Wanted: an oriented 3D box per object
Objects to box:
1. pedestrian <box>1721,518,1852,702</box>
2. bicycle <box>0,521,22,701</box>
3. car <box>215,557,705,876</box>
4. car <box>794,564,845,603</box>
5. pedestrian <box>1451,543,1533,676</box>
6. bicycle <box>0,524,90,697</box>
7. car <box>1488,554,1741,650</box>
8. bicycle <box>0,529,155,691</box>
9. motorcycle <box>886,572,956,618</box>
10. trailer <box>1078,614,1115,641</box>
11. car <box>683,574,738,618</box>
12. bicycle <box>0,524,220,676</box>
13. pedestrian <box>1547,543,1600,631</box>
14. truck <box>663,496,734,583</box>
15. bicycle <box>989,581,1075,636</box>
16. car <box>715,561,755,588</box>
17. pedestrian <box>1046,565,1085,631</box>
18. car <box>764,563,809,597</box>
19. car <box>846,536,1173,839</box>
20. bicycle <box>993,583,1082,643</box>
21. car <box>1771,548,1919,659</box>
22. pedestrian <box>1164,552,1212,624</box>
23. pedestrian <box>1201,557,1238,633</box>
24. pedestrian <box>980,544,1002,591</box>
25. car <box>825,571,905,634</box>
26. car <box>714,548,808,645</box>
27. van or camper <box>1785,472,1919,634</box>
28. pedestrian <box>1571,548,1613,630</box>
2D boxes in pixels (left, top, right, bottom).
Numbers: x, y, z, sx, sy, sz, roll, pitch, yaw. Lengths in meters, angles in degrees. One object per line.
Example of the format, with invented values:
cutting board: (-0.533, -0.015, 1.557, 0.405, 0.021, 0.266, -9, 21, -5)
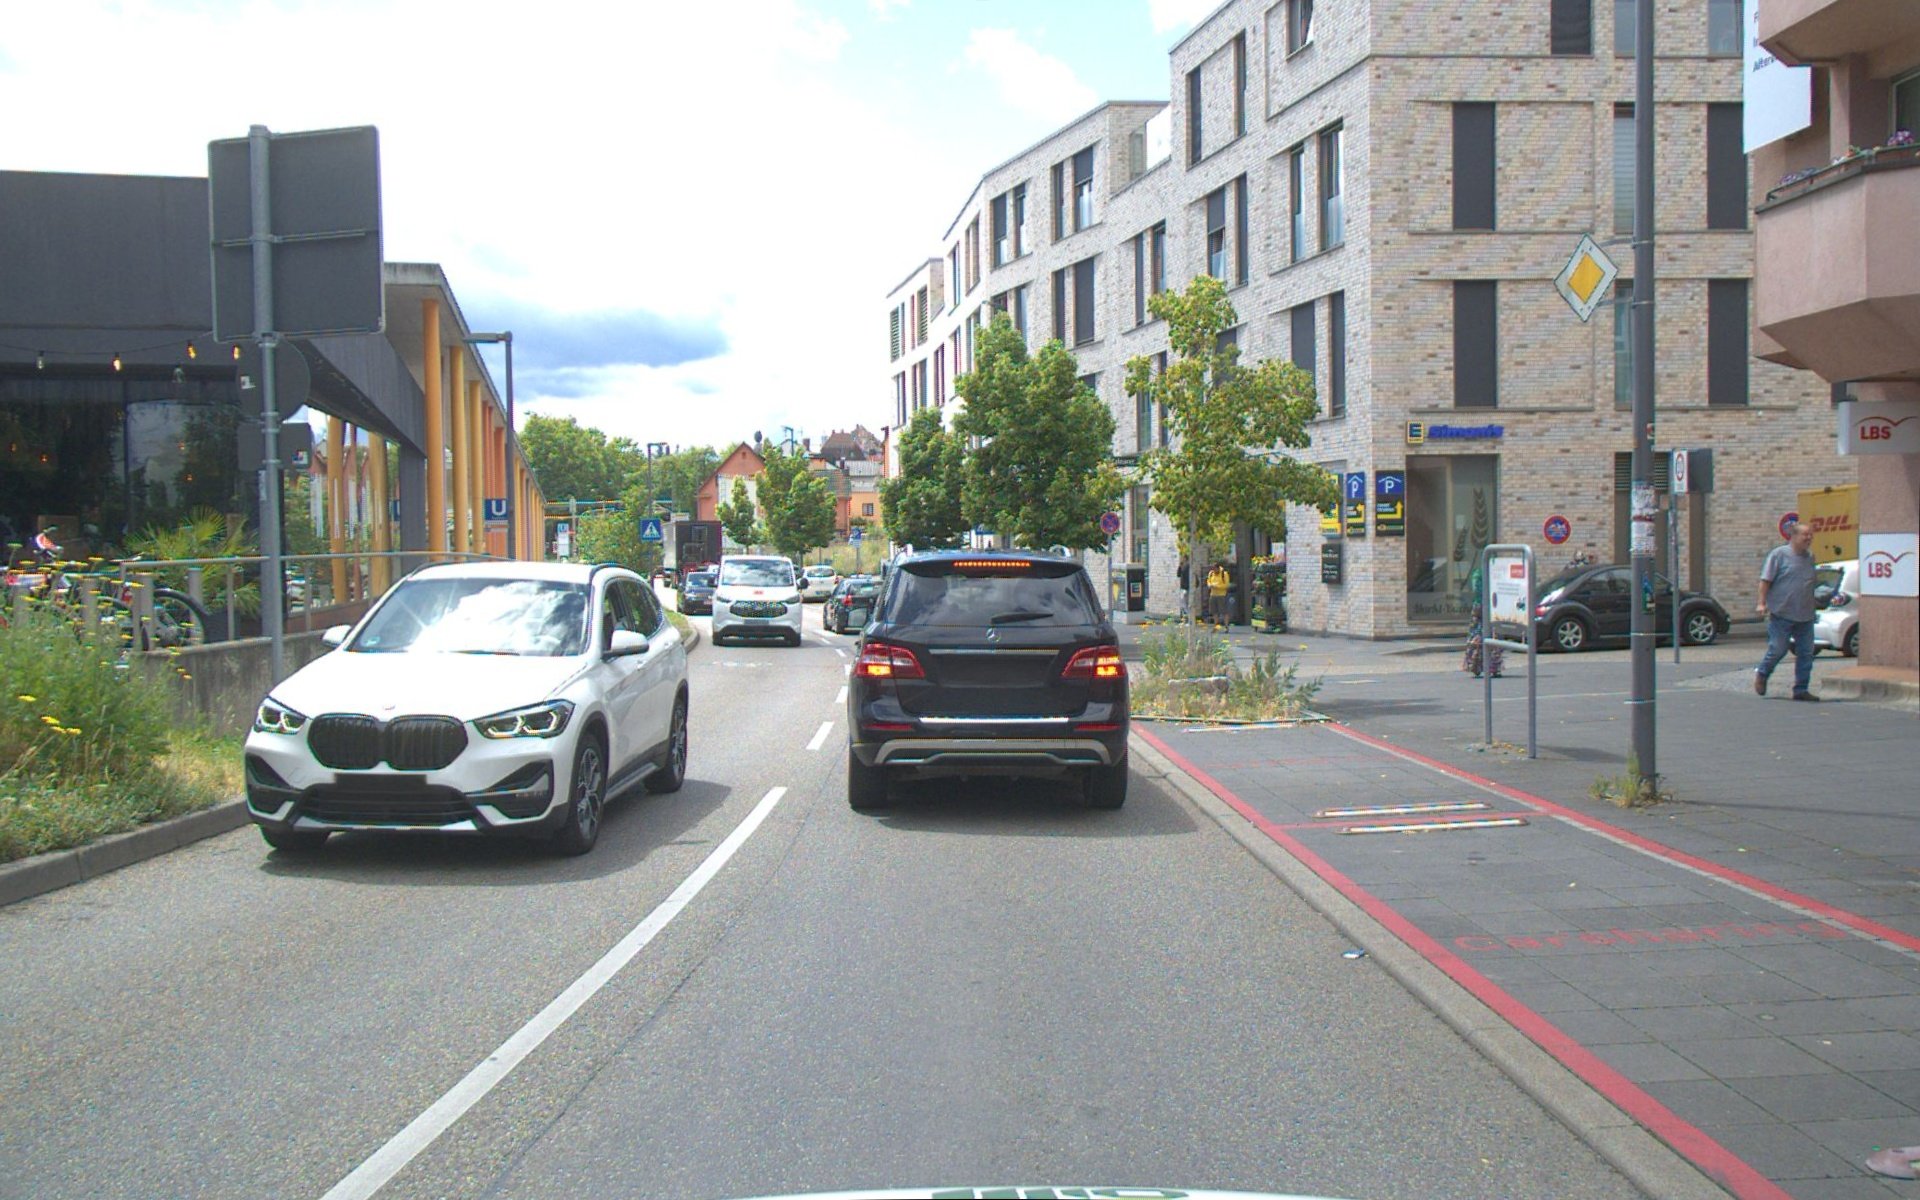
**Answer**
pedestrian: (8.039, 0.094, 16.122, 0.702, 1.715, 0.944, -2, 0, -4)
bicycle: (-6.884, 0.089, 10.497, 1.515, 1.147, 0.533, -1, 1, 0)
car: (-2.847, 0.565, 10.446, 1.785, 1.612, 4.166, 0, 1, 1)
car: (-6.041, -0.738, 70.744, 1.663, 1.509, 3.786, -3, 2, -12)
pedestrian: (6.948, 0.114, 21.569, 0.731, 1.667, 0.925, -2, 2, 34)
bicycle: (-6.857, 0.079, 11.286, 1.515, 1.147, 0.533, -1, 1, 0)
car: (11.719, 0.006, 29.734, 3.821, 1.502, 1.780, -3, 1, -8)
bicycle: (-6.807, 0.075, 12.131, 1.515, 1.147, 0.533, -1, 1, 0)
motorcycle: (-1.188, -0.152, 50.486, 2.007, 1.288, 0.673, -3, 1, 4)
trailer: (2.963, 0.594, 35.963, 0.705, 0.537, 0.811, -1, 1, -4)
car: (-8.818, -0.164, 58.315, 1.741, 1.489, 4.223, 0, 1, -11)
bicycle: (-6.796, -0.003, 13.184, 1.515, 1.147, 0.533, -1, 1, 0)
pedestrian: (11.995, -0.241, 32.352, 0.549, 1.700, 0.806, 0, -1, -34)
truck: (-14.841, -3.276, 93.334, 3.149, 4.615, 8.994, 0, 0, -14)
bicycle: (1.604, 0.184, 36.900, 1.788, 1.151, 0.755, -2, 1, -8)
car: (-13.685, -1.580, 100.404, 1.753, 1.476, 4.458, -3, 2, -16)
pedestrian: (2.598, -0.046, 40.798, 0.797, 1.592, 0.928, 0, -1, -8)
car: (-8.407, -0.995, 79.750, 1.663, 1.486, 4.134, -3, 2, -12)
car: (0.172, 0.483, 12.423, 1.954, 1.777, 4.529, -2, 1, -4)
bicycle: (1.681, 0.282, 35.992, 1.788, 1.221, 0.755, -2, 1, -8)
car: (14.132, -0.004, 24.569, 3.313, 1.502, 1.718, -2, 1, -2)
pedestrian: (5.707, -0.304, 41.440, 0.999, 1.772, 0.656, -2, 1, -18)
pedestrian: (5.984, -0.123, 38.128, 0.645, 1.722, 0.631, -1, 1, 26)
pedestrian: (1.011, -1.077, 53.946, 0.595, 1.498, 0.790, -2, 2, -6)
car: (-2.592, 0.036, 44.478, 1.695, 1.482, 3.800, -2, 2, -10)
car: (-4.621, -0.110, 37.881, 1.956, 2.049, 5.384, 1, 1, -8)
van or camper: (19.153, -0.977, 30.497, 6.720, 2.784, 2.275, -3, 0, -4)
pedestrian: (12.502, -0.215, 32.727, 0.516, 1.600, 0.596, 0, -1, -34)
